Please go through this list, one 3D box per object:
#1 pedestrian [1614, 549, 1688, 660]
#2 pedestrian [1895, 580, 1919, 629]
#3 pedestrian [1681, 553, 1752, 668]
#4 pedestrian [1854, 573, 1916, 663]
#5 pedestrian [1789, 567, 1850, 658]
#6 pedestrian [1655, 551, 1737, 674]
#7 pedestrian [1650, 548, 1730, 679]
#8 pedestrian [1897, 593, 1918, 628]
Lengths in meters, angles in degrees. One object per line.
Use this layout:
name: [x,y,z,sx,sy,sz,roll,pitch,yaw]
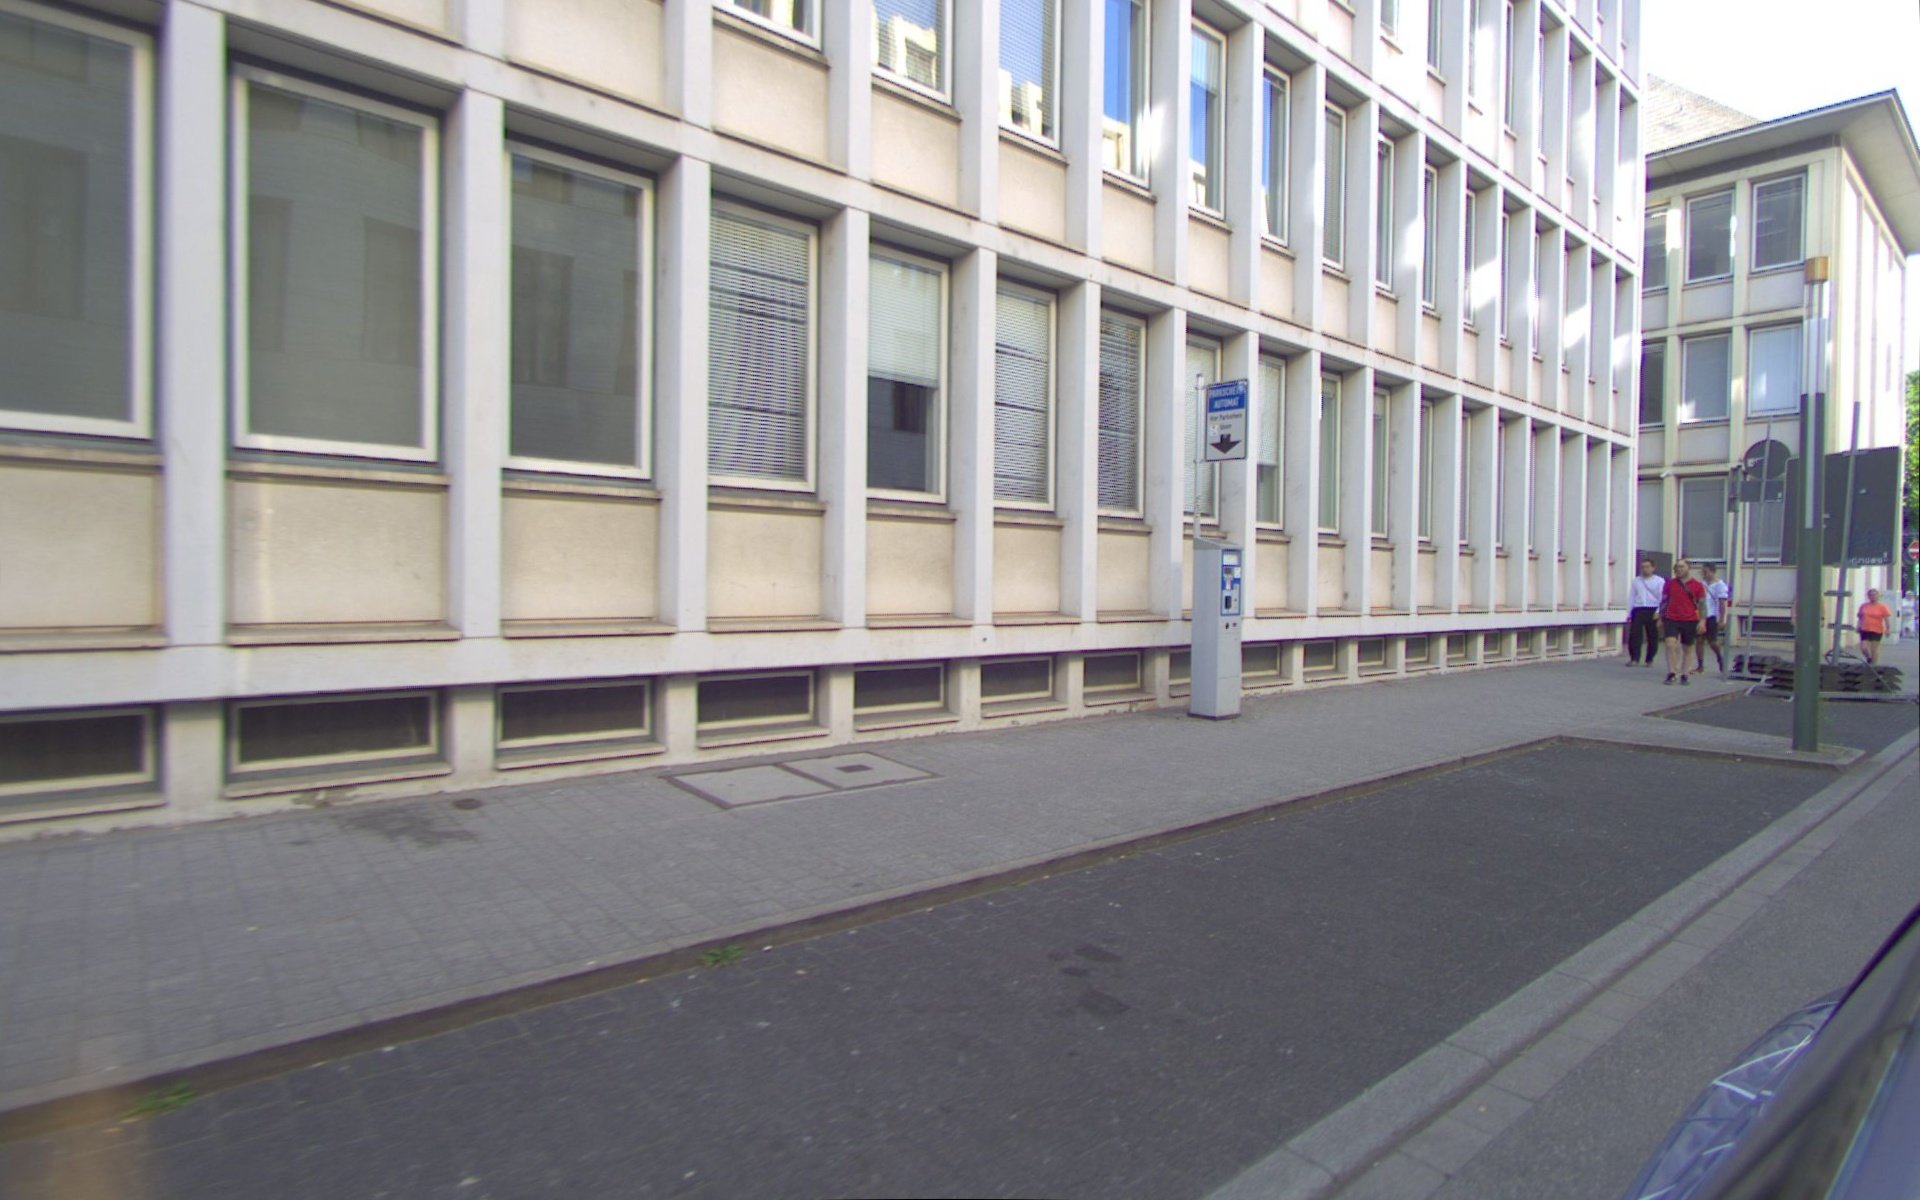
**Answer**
pedestrian: [11.866,0.065,17.383,0.681,1.799,0.685,0,7,-39]
pedestrian: [32.793,0.144,35.018,0.624,1.662,0.613,0,1,44]
pedestrian: [12.338,0.157,16.505,0.681,1.800,0.685,0,3,-39]
pedestrian: [17.769,0.335,19.445,0.681,1.656,0.685,0,4,-39]
pedestrian: [17.219,0.231,20.276,0.681,1.736,0.685,0,5,-39]
pedestrian: [11.385,0.173,15.661,0.681,1.799,0.685,0,7,-39]
pedestrian: [10.532,0.175,14.612,0.583,1.799,0.685,0,5,-39]
pedestrian: [33.234,0.375,35.494,0.534,1.191,0.613,0,1,44]
